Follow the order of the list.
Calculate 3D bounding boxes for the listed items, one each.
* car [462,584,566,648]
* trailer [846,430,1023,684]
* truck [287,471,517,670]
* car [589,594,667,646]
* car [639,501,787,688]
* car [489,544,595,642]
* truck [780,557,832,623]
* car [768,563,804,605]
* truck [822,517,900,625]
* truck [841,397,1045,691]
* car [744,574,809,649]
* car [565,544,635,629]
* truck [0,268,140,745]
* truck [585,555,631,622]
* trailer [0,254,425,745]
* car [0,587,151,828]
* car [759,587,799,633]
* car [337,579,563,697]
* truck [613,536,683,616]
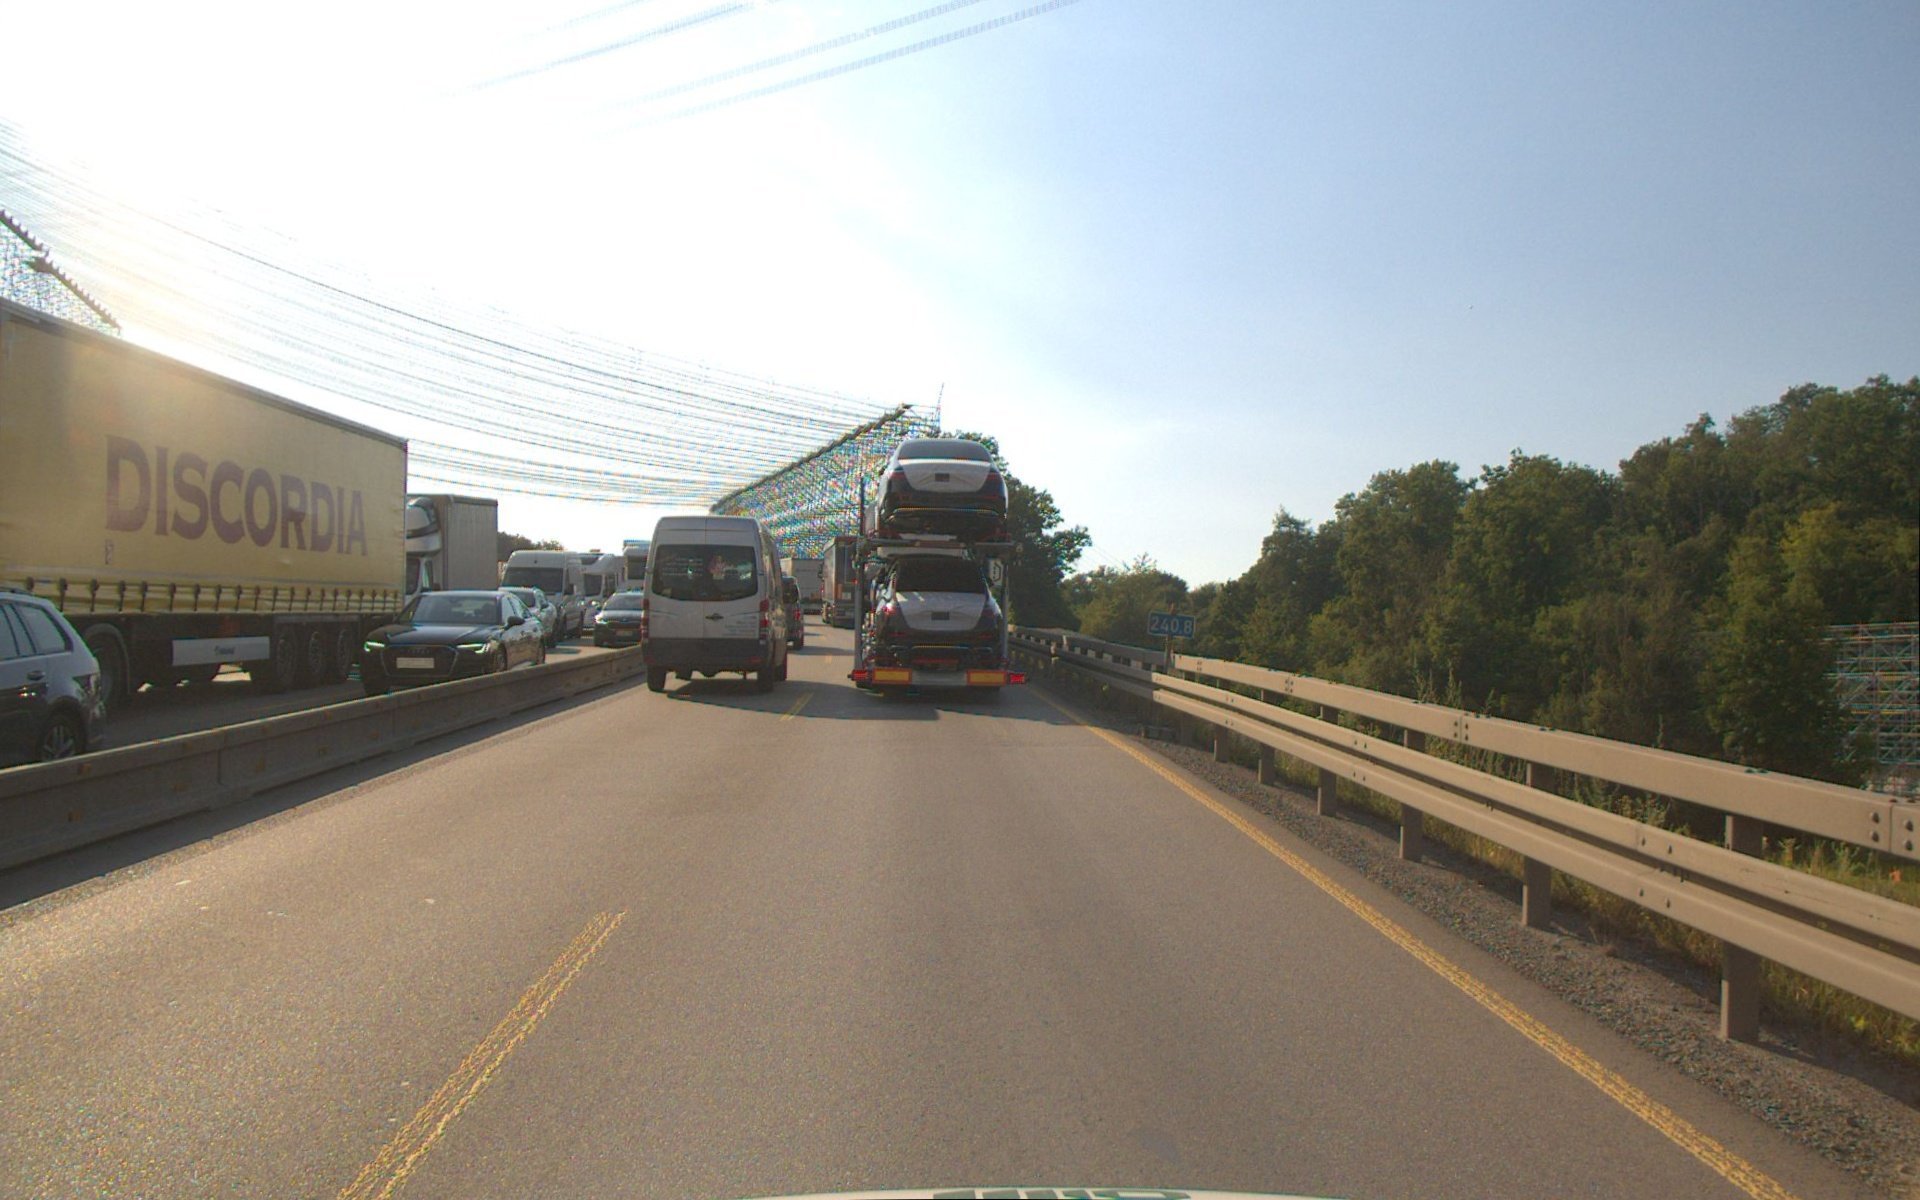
[{"bbox_3d":[-11.284,0.425,42.065,1.773,1.557,4.044,0,-1,-4],"label":"car"},{"bbox_3d":[-0.775,-0.530,34.068,2.817,4.064,15.269,0,-1,-3],"label":"trailer"},{"bbox_3d":[-11.127,-0.457,33.791,2.311,3.593,7.693,0,-1,-2],"label":"truck"},{"bbox_3d":[-9.173,0.572,45.975,1.635,1.392,3.815,0,-1,-4],"label":"car"},{"bbox_3d":[-3.823,-0.037,26.251,1.940,2.731,4.144,0,-1,-3],"label":"car"},{"bbox_3d":[-12.505,-0.139,49.893,2.086,2.798,5.500,0,-1,-3],"label":"car"},{"bbox_3d":[-11.855,-0.776,126.387,3.579,4.759,11.677,0,0,-7],"label":"truck"},{"bbox_3d":[-8.742,-0.770,83.382,1.635,2.019,3.815,0,-1,-4],"label":"car"},{"bbox_3d":[-4.836,-1.306,78.390,3.166,4.759,11.679,0,0,-6],"label":"truck"},{"bbox_3d":[-0.372,-0.716,25.655,2.812,4.050,5.767,0,-1,-3],"label":"truck"},{"bbox_3d":[-5.128,0.340,46.582,1.635,2.019,3.815,0,-1,-4],"label":"car"},{"bbox_3d":[-12.504,-0.457,57.647,1.635,2.813,4.956,0,0,-4],"label":"car"},{"bbox_3d":[-10.151,-0.848,14.888,2.836,4.347,5.767,0,-1,-3],"label":"truck"},{"bbox_3d":[-26.511,-0.868,124.599,3.172,4.759,11.659,0,0,-12],"label":"truck"},{"bbox_3d":[-10.488,-0.766,21.848,2.836,4.471,14.370,0,-1,-3],"label":"trailer"},{"bbox_3d":[-6.729,0.653,9.832,1.719,1.475,4.532,0,-1,-2],"label":"car"},{"bbox_3d":[-8.138,0.493,74.484,1.635,2.019,3.815,0,-1,-4],"label":"car"},{"bbox_3d":[-7.341,0.548,24.332,1.953,1.557,4.724,0,-1,-1],"label":"car"},{"bbox_3d":[-16.707,-1.245,89.107,2.589,4.065,9.022,0,0,-4],"label":"truck"}]
